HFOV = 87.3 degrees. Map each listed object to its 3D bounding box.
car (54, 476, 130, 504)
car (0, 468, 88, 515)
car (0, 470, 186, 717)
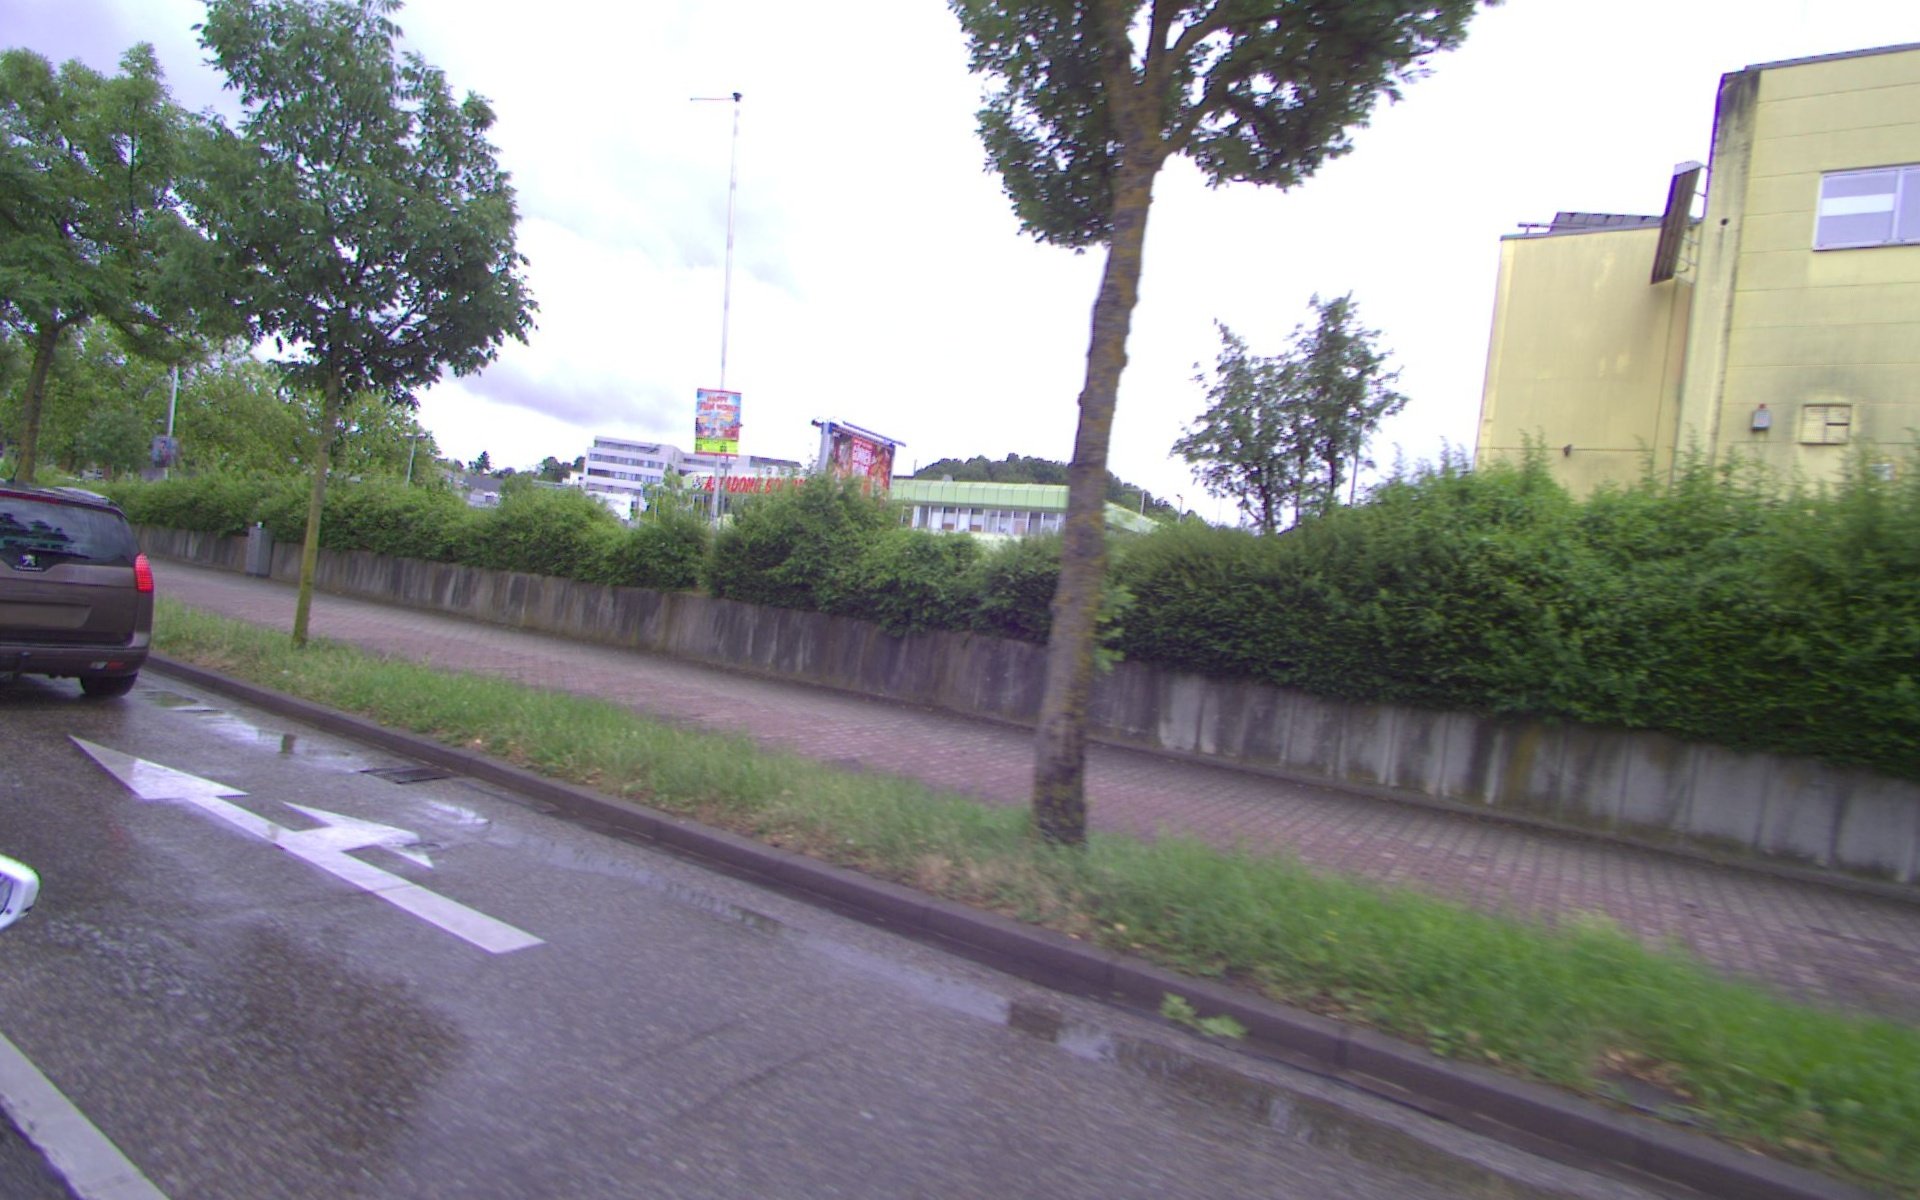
[{"bbox_3d":[-68.393,-8.648,79.307,4.084,1.499,1.735,7,0,-9],"label":"car"},{"bbox_3d":[-37.382,-4.418,39.830,1.628,1.460,3.990,7,0,33],"label":"car"},{"bbox_3d":[-8.162,-0.248,7.940,4.396,1.644,1.728,7,0,32],"label":"car"}]
